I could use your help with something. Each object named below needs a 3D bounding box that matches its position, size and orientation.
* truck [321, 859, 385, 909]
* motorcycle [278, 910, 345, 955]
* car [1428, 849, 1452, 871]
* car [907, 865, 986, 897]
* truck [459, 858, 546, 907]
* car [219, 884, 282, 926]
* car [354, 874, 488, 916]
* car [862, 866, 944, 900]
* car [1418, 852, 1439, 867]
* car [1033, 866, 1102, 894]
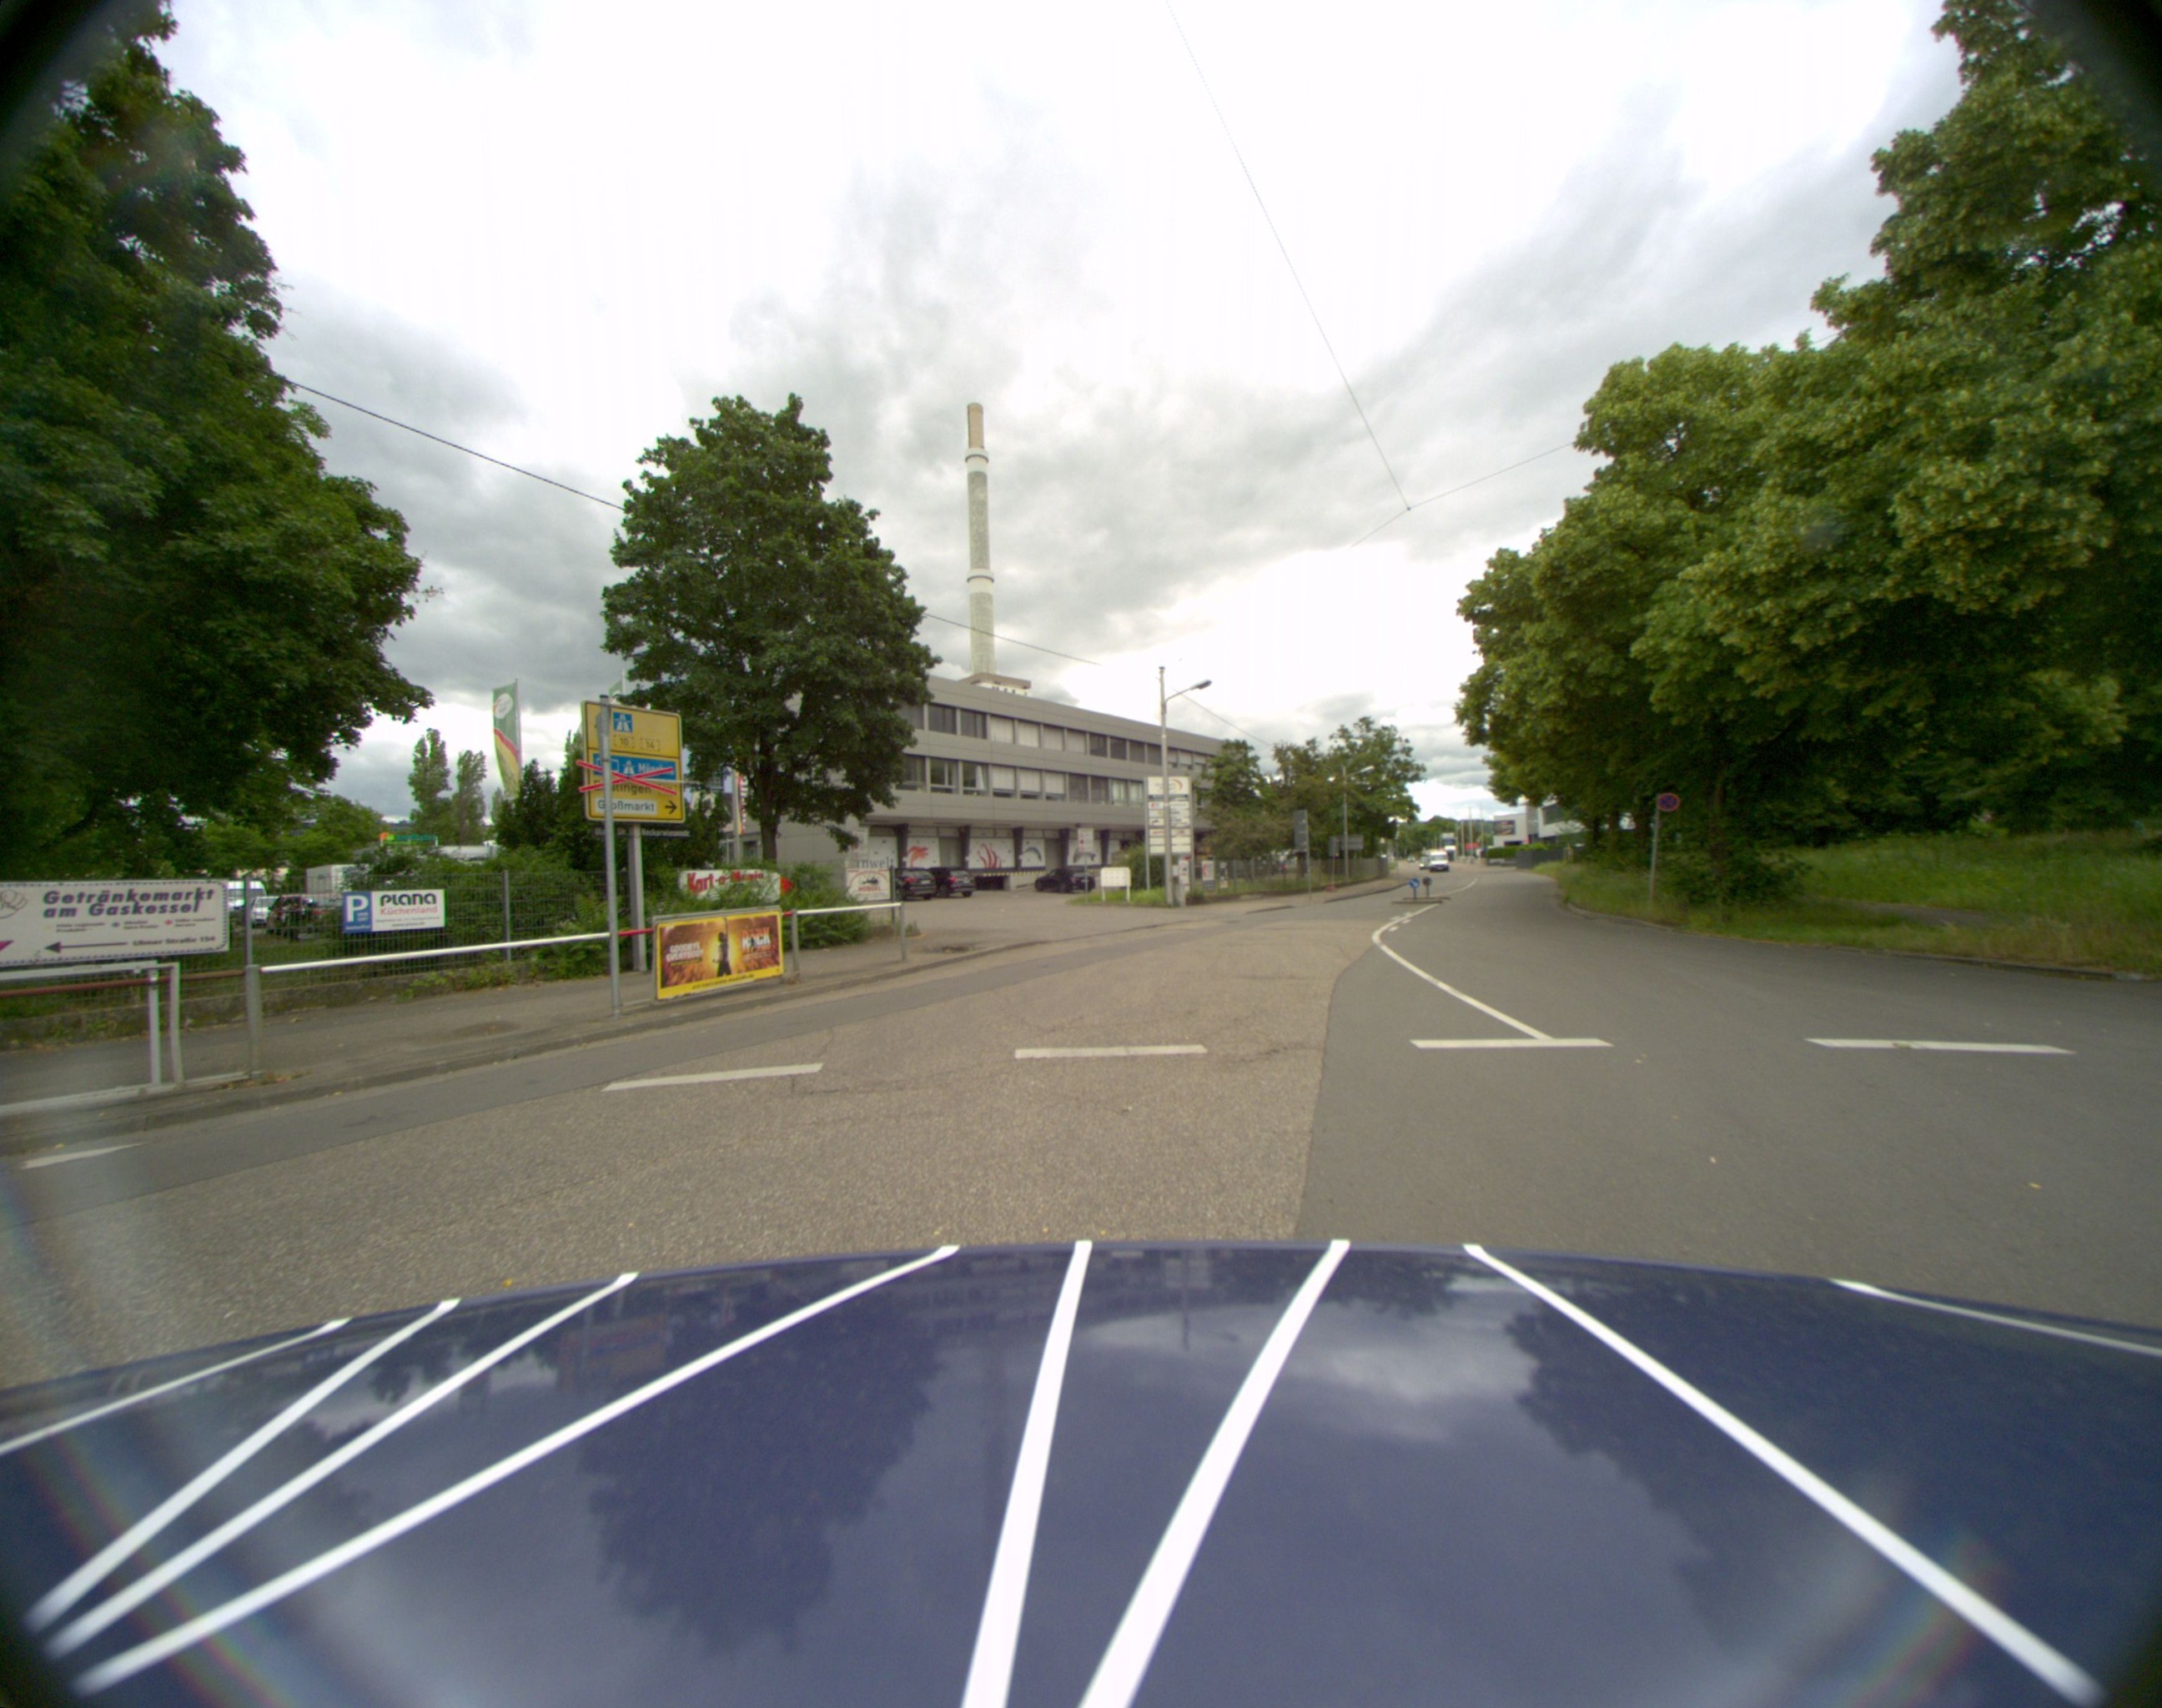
[{"bbox_3d":[-65.255,2.666,68.063,9.164,4.141,3.006,-2,-1,39],"label":"truck"},{"bbox_3d":[-21.021,2.120,20.742,2.092,1.082,1.018,-3,-1,38],"label":"motorcycle"},{"bbox_3d":[42.729,0.639,90.545,2.384,2.444,6.111,-3,-1,25],"label":"car"},{"bbox_3d":[-7.370,1.455,41.534,4.411,1.608,1.843,-1,0,41],"label":"car"},{"bbox_3d":[-53.254,2.688,69.661,15.807,4.001,2.879,-3,-1,40],"label":"truck"},{"bbox_3d":[-54.066,3.271,49.406,6.907,2.464,2.315,-3,-1,39],"label":"car"},{"bbox_3d":[-48.569,2.962,56.153,2.238,2.716,7.169,-2,-1,40],"label":"car"},{"bbox_3d":[-9.255,1.468,39.324,4.452,1.608,1.843,-1,0,42],"label":"car"},{"bbox_3d":[46.429,0.720,101.516,2.384,1.858,5.216,-3,-1,25],"label":"car"},{"bbox_3d":[-0.869,1.544,46.570,2.054,1.437,4.816,-2,1,-31],"label":"car"}]
